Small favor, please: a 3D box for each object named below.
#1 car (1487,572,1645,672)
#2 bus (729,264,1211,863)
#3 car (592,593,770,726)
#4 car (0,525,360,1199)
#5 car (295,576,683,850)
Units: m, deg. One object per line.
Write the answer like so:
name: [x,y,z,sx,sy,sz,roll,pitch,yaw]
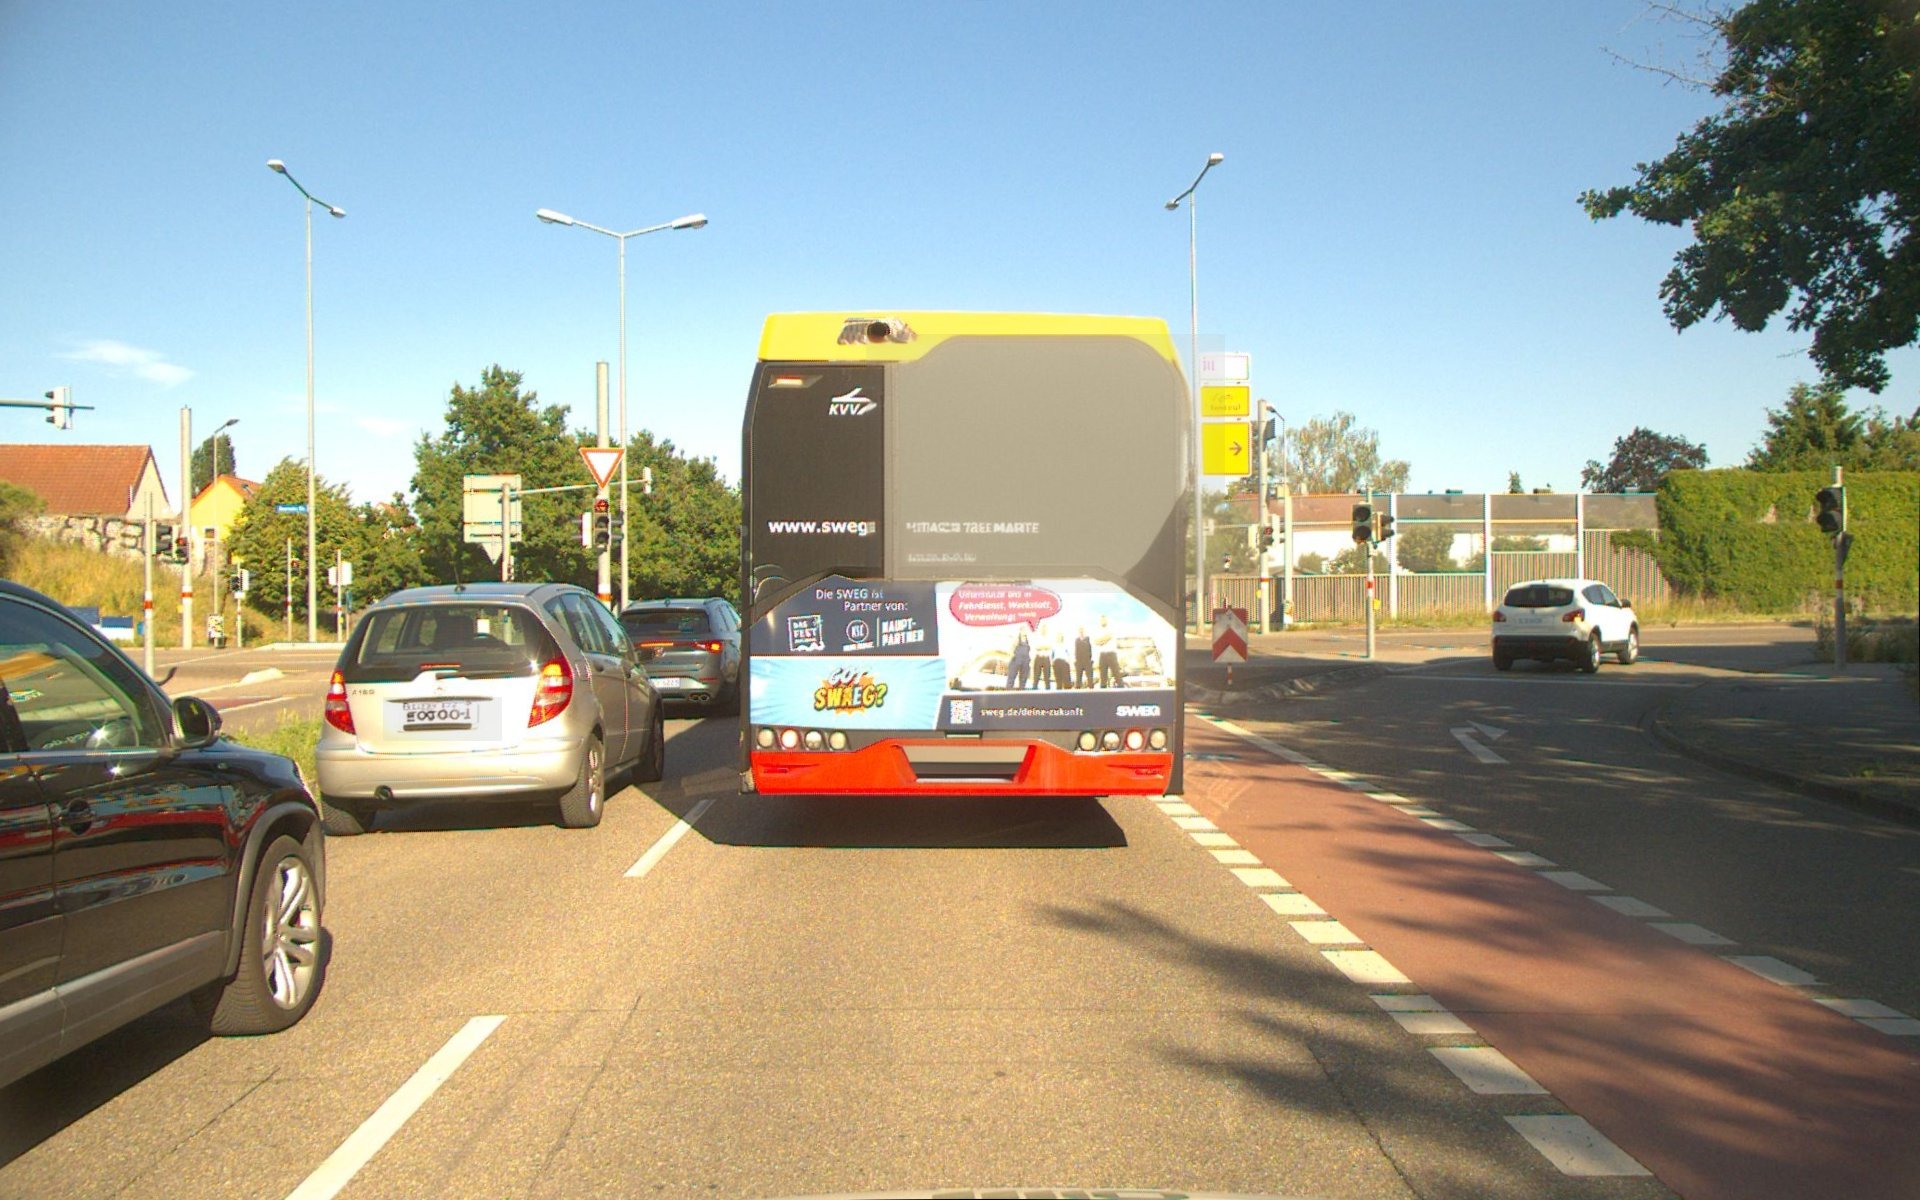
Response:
car: [11.160,0.349,30.304,1.688,1.635,4.053,0,2,36]
bus: [0.022,-0.248,14.890,2.589,3.222,11.860,0,0,0]
car: [-3.449,0.682,21.055,1.658,1.484,3.750,-2,0,-1]
car: [-3.142,0.692,4.300,1.736,1.682,3.999,-2,0,-1]
car: [-3.216,0.680,12.127,1.725,1.617,3.999,-2,0,-1]
